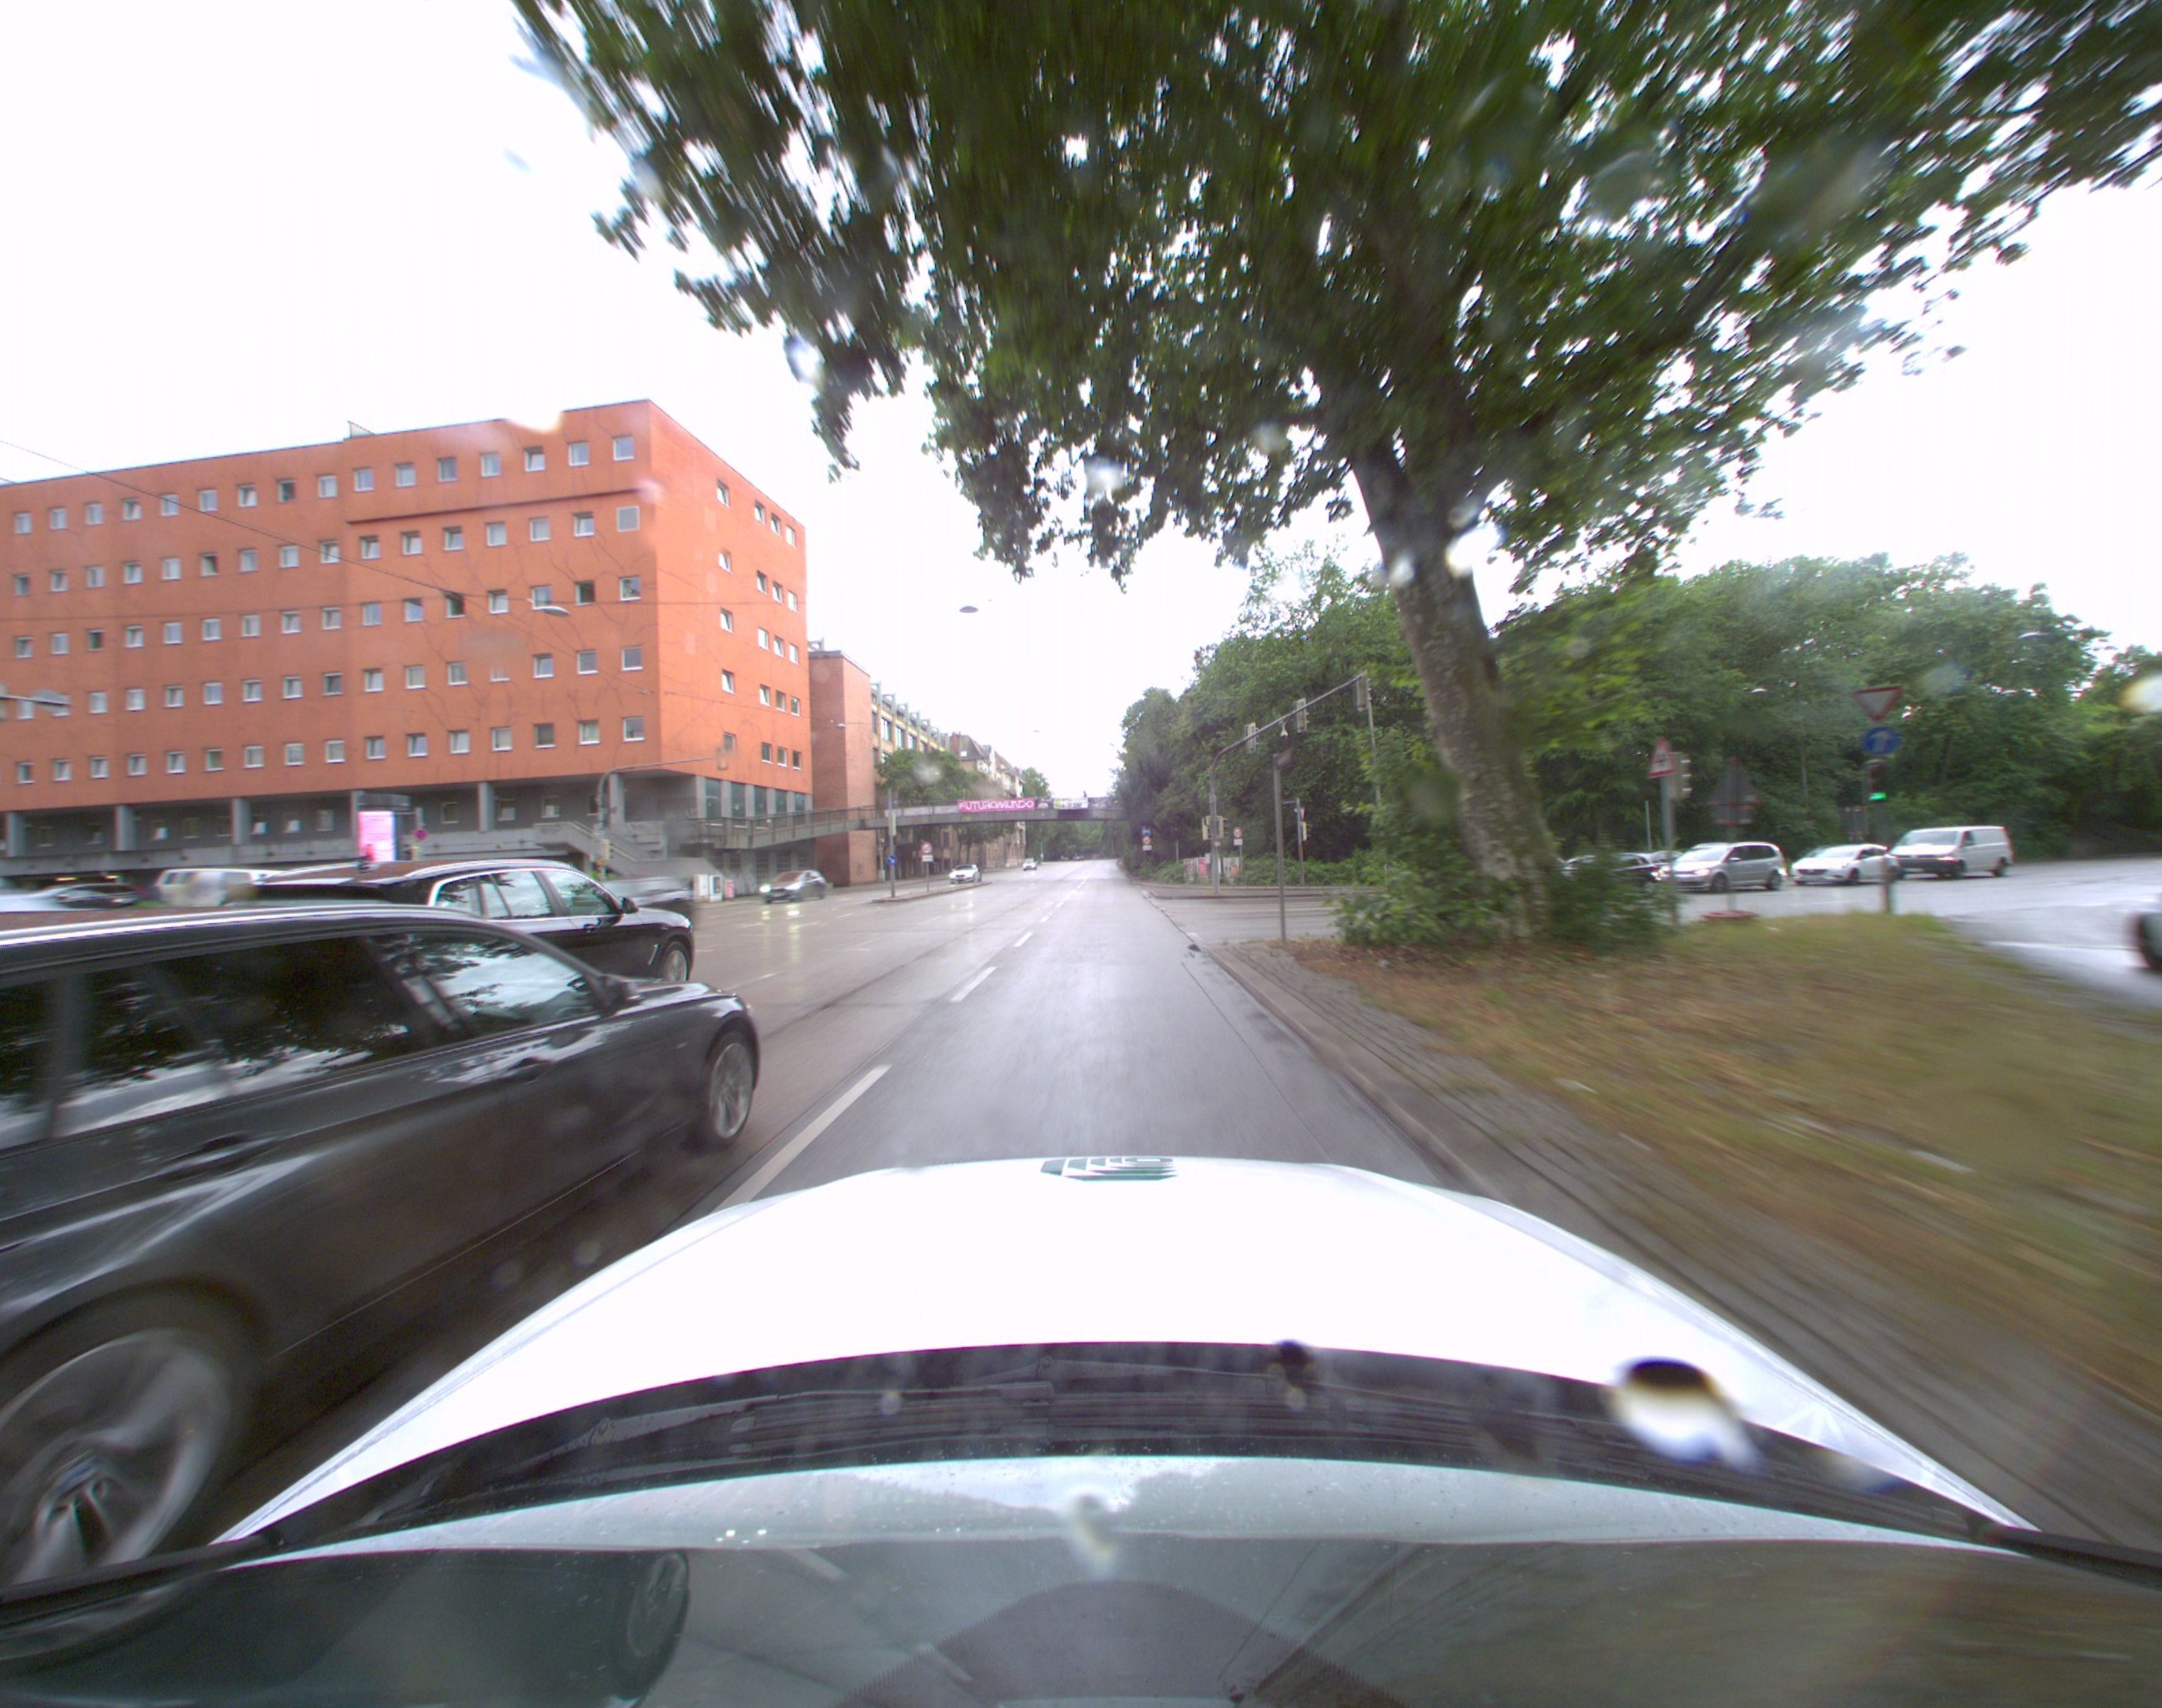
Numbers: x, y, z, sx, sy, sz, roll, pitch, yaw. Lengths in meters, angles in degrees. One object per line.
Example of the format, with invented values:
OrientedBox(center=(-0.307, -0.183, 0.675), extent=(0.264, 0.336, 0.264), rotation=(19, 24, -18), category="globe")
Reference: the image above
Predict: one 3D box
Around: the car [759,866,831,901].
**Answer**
OrientedBox(center=(-13.331, 1.337, 38.230), extent=(1.701, 1.464, 4.045), rotation=(-2, -1, 4), category="car")

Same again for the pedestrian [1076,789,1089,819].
OrientedBox(center=(0.127, -4.076, 65.960), extent=(0.952, 2.345, 1.005), rotation=(1, -1, -4), category="pedestrian")

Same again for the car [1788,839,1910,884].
OrientedBox(center=(27.840, 0.253, 29.535), extent=(3.865, 1.461, 1.647), rotation=(-1, 0, -20), category="car")

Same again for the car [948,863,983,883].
OrientedBox(center=(-8.725, 1.399, 61.840), extent=(1.823, 1.393, 4.407), rotation=(-3, -1, 2), category="car")

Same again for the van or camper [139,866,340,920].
OrientedBox(center=(-34.069, 1.493, 33.269), extent=(2.114, 1.977, 5.464), rotation=(1, -1, 7), category="van or camper")

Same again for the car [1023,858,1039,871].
OrientedBox(center=(-6.512, 1.348, 105.783), extent=(1.594, 1.499, 3.713), rotation=(-3, -1, 2), category="car")

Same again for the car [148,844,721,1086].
OrientedBox(center=(-5.492, 0.790, 7.889), extent=(1.802, 1.656, 4.448), rotation=(1, -1, 3), category="car")

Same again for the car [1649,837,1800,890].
OrientedBox(center=(21.605, 0.338, 27.392), extent=(4.204, 1.680, 1.897), rotation=(1, -1, -15), category="car")

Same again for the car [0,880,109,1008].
OrientedBox(center=(-14.885, 1.183, 9.389), extent=(1.882, 1.610, 4.460), rotation=(-2, -1, 3), category="car")

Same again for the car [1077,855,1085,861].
OrientedBox(center=(-0.066, 1.087, 236.107), extent=(2.001, 1.643, 4.368), rotation=(-2, -1, -5), category="car")

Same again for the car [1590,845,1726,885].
OrientedBox(center=(21.797, 0.428, 30.772), extent=(4.440, 1.402, 1.820), rotation=(1, -1, -15), category="car")

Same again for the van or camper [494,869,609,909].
OrientedBox(center=(-23.853, 1.579, 36.780), extent=(3.966, 1.627, 1.918), rotation=(-2, 0, 6), category="van or camper")

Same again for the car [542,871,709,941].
OrientedBox(center=(-10.777, 1.171, 19.616), extent=(1.676, 1.436, 3.864), rotation=(-2, -1, 2), category="car")

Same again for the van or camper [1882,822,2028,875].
OrientedBox(center=(33.716, -0.190, 31.437), extent=(4.860, 1.947, 1.896), rotation=(0, -1, -17), category="van or camper")

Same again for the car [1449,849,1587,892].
OrientedBox(center=(15.638, 0.591, 29.202), extent=(4.206, 1.440, 1.940), rotation=(1, -1, -15), category="car")

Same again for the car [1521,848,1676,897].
OrientedBox(center=(16.152, 0.575, 25.469), extent=(4.194, 1.460, 1.784), rotation=(1, -1, -15), category="car")

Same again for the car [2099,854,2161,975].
OrientedBox(center=(13.344, 0.747, 8.709), extent=(1.834, 1.448, 4.647), rotation=(2, 1, 35), category="car")

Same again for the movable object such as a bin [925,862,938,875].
OrientedBox(center=(-17.684, 1.691, 96.370), extent=(1.277, 1.518, 1.274), rotation=(-2, 0, 2), category="movable object such as a bin")

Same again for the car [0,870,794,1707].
OrientedBox(center=(-2.776, 0.844, 2.860), extent=(1.770, 1.458, 4.479), rotation=(-2, -1, 2), category="car")
